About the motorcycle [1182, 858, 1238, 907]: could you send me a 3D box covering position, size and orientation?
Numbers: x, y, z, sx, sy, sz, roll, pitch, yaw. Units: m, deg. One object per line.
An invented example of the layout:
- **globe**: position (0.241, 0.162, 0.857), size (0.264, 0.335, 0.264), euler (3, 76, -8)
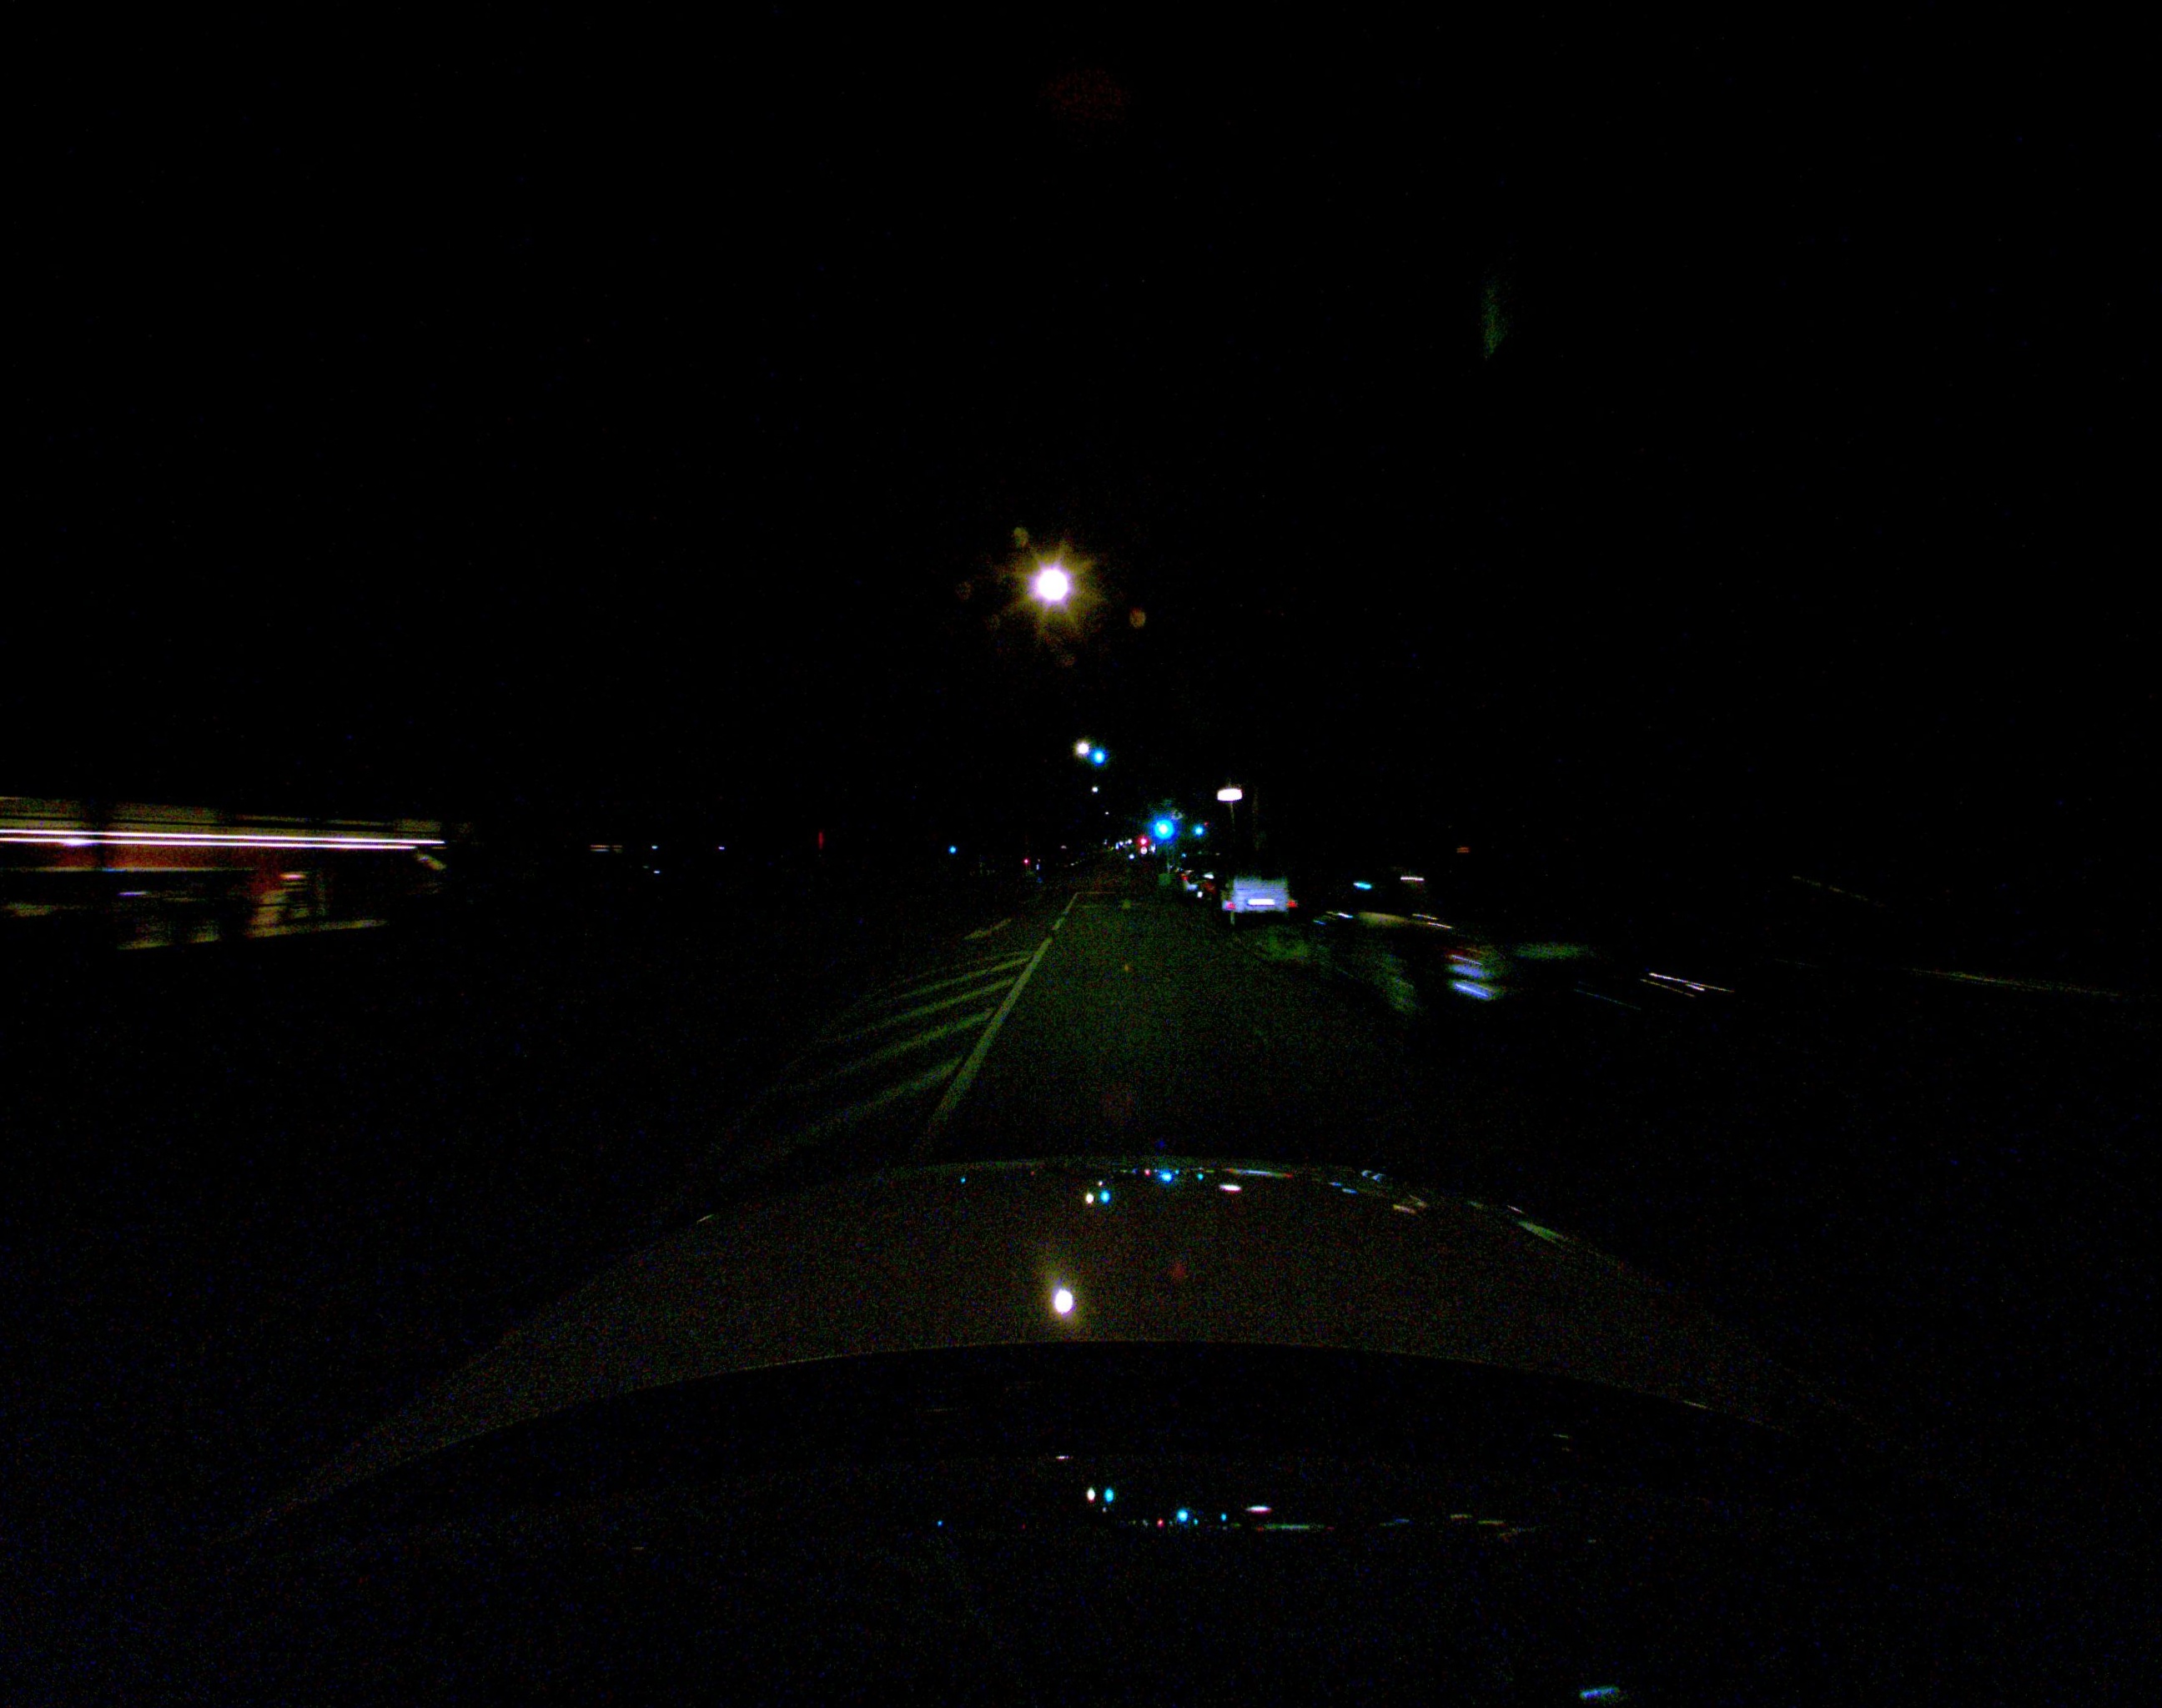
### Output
- **motorcycle**: position (3.621, 0.770, 22.690), size (0.630, 1.270, 2.077), euler (-2, 0, 36)

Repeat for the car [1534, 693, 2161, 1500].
- **car**: position (3.259, 0.498, 2.005), size (1.766, 1.806, 4.276), euler (-4, 0, -1)

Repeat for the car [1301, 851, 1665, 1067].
- **car**: position (3.307, 0.721, 7.611), size (1.514, 1.396, 3.987), euler (-3, 0, 2)

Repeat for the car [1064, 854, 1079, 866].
- **car**: position (-1.168, 0.781, 105.708), size (1.734, 1.416, 3.753), euler (-2, 0, 2)

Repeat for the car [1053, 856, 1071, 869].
- **car**: position (-2.128, 0.919, 89.912), size (1.734, 1.416, 3.753), euler (-2, 0, 2)

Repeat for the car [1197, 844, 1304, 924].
- **car**: position (3.782, 0.607, 18.780), size (1.586, 1.534, 4.139), euler (-4, 0, 1)

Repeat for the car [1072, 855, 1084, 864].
- **car**: position (-0.434, 0.865, 133.222), size (1.734, 1.416, 3.753), euler (-2, 0, 2)

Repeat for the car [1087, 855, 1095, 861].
- **car**: position (2.356, 0.937, 188.937), size (1.734, 1.416, 3.753), euler (-2, 0, 2)

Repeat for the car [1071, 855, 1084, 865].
- **car**: position (-0.480, 0.882, 119.333), size (1.734, 1.416, 3.753), euler (-2, 0, 2)

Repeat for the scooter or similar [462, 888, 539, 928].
- **scooter or similar**: position (-15.370, 1.418, 21.572), size (1.667, 1.008, 0.545), euler (0, 0, 3)

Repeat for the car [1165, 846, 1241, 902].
- **car**: position (3.838, 0.596, 26.328), size (1.846, 1.590, 4.301), euler (-2, 0, 1)
